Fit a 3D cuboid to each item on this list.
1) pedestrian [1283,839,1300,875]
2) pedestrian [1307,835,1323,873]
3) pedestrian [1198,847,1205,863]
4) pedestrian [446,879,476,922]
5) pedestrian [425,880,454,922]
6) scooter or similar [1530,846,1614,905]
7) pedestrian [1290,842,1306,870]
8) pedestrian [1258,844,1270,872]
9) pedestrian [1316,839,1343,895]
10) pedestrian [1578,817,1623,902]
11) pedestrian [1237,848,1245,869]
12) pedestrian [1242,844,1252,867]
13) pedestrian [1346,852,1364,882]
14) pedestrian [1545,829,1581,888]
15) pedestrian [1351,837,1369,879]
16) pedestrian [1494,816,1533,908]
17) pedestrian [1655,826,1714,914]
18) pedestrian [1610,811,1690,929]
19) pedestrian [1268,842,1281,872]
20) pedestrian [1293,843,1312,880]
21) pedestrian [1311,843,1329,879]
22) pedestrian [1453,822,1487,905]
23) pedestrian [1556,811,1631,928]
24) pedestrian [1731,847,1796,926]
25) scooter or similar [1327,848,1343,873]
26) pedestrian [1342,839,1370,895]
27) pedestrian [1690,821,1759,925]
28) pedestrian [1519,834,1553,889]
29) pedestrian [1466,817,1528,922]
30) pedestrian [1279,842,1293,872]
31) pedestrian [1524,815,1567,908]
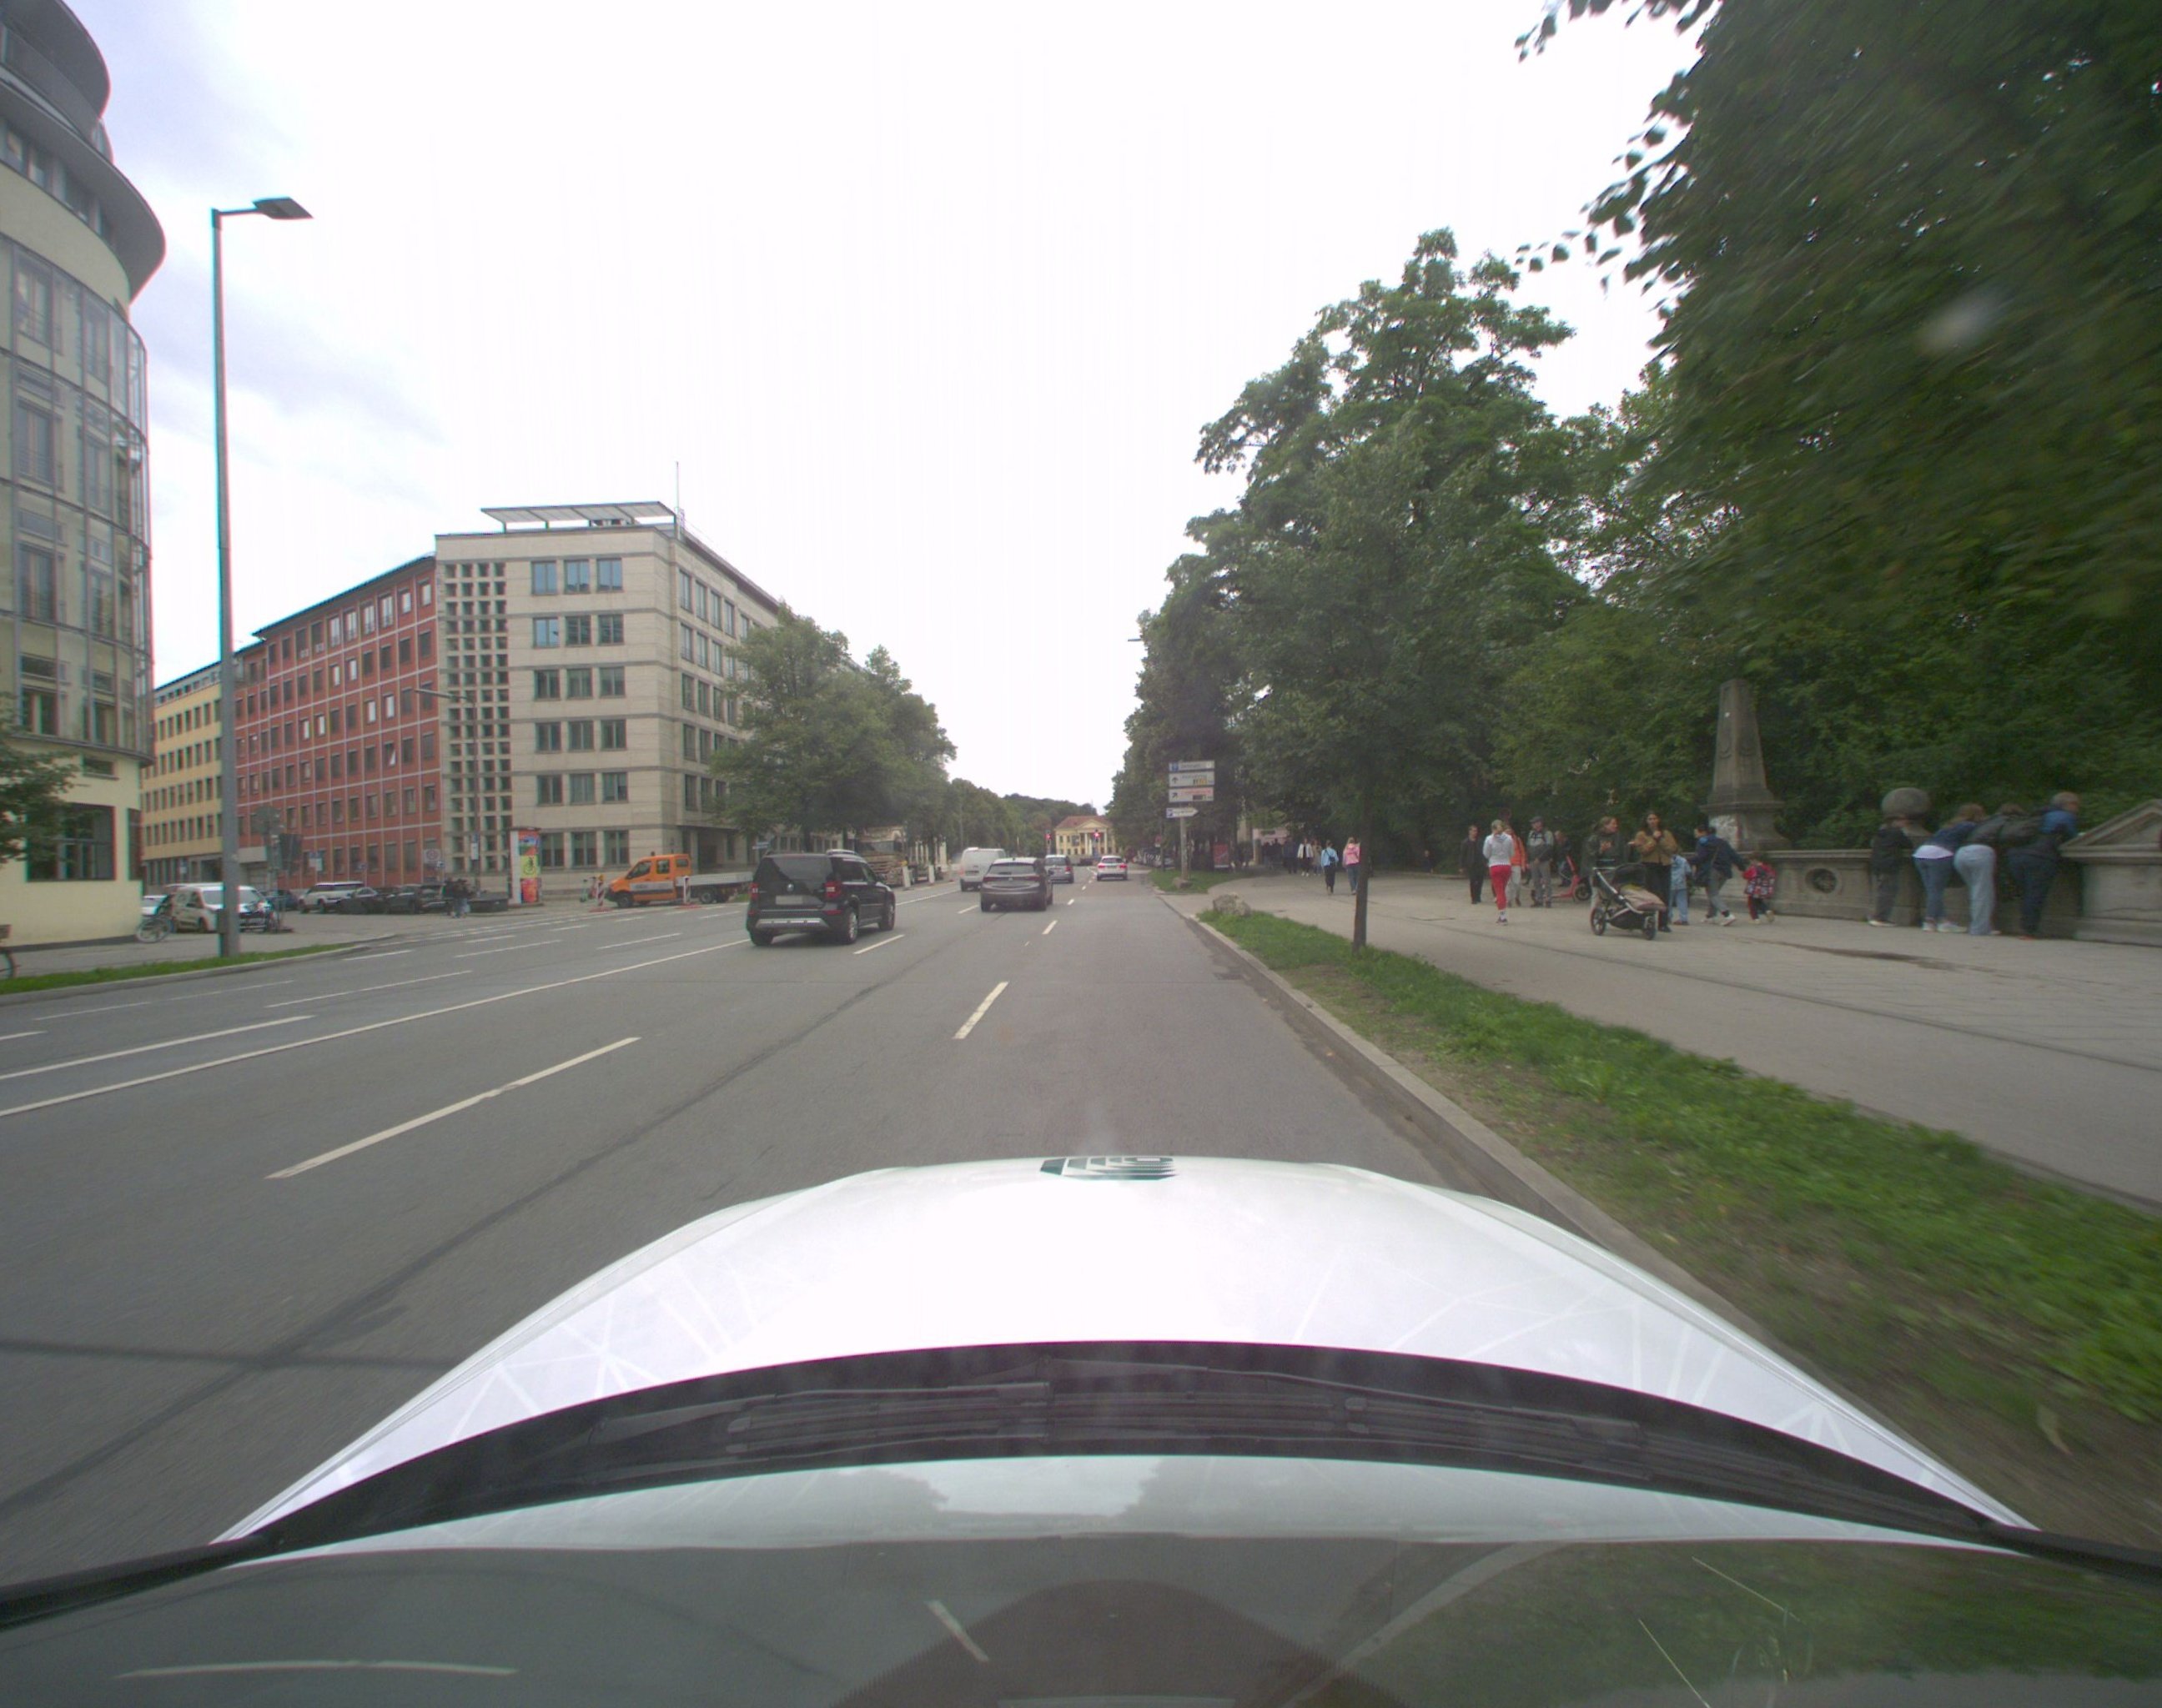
[{"bbox_3d":[10.378,0.137,40.071,0.748,1.737,0.853,-1,-1,17],"label":"pedestrian"},{"bbox_3d":[11.457,0.018,39.871,0.585,1.822,0.850,-1,-1,3],"label":"pedestrian"},{"bbox_3d":[14.619,0.155,98.542,0.761,1.910,0.771,-1,-1,2],"label":"pedestrian"},{"bbox_3d":[-26.731,1.998,35.122,0.679,1.775,0.785,-1,-1,6],"label":"pedestrian"},{"bbox_3d":[-27.411,1.990,34.779,0.679,1.775,0.675,-1,-1,6],"label":"pedestrian"},{"bbox_3d":[10.763,0.461,17.882,1.547,1.256,0.350,-1,-1,32],"label":"scooter or similar"},{"bbox_3d":[12.954,0.136,48.573,0.681,1.637,0.661,0,-1,-10],"label":"pedestrian"},{"bbox_3d":[10.808,0.240,48.210,0.604,1.681,0.755,-1,-1,6],"label":"pedestrian"},{"bbox_3d":[7.509,0.394,24.578,0.748,1.644,0.853,-1,-1,17],"label":"pedestrian"},{"bbox_3d":[11.707,0.129,18.357,0.695,1.873,0.605,0,-1,-33],"label":"pedestrian"},{"bbox_3d":[12.600,0.354,64.132,0.577,1.675,0.554,-1,-1,5],"label":"pedestrian"},{"bbox_3d":[12.518,0.116,61.500,0.627,1.774,0.783,-1,-1,6],"label":"pedestrian"},{"bbox_3d":[10.370,0.492,30.830,0.626,1.137,0.575,-1,-1,17],"label":"pedestrian"},{"bbox_3d":[13.851,0.131,23.395,0.695,1.651,0.605,0,-1,-31],"label":"pedestrian"},{"bbox_3d":[11.124,0.156,32.466,0.626,1.667,0.575,-1,-1,17],"label":"pedestrian"},{"bbox_3d":[9.214,0.175,17.359,0.604,1.914,0.696,-1,-1,18],"label":"pedestrian"},{"bbox_3d":[9.293,0.241,12.564,0.455,1.326,0.649,-1,-1,7],"label":"pedestrian"},{"bbox_3d":[8.382,0.230,12.019,0.722,1.691,0.649,-1,-1,7],"label":"pedestrian"},{"bbox_3d":[11.446,0.167,48.176,0.604,1.763,0.798,-1,-1,6],"label":"pedestrian"},{"bbox_3d":[10.048,0.327,36.943,0.748,1.644,0.653,-1,-1,17],"label":"pedestrian"},{"bbox_3d":[10.775,0.319,36.743,0.748,1.644,0.694,-1,-1,17],"label":"pedestrian"},{"bbox_3d":[8.992,0.215,18.846,0.604,1.873,0.696,-1,-1,18],"label":"pedestrian"},{"bbox_3d":[7.628,0.235,12.151,0.722,1.691,0.649,-1,-1,7],"label":"pedestrian"},{"bbox_3d":[10.260,0.479,12.264,0.455,1.153,0.649,-1,-1,7],"label":"pedestrian"},{"bbox_3d":[12.444,0.320,39.943,0.416,1.199,1.219,-1,-1,3],"label":"scooter or similar"},{"bbox_3d":[8.216,0.385,24.368,0.748,1.644,0.853,-1,-1,17],"label":"pedestrian"},{"bbox_3d":[9.739,0.283,12.344,0.546,1.527,0.649,-1,-1,7],"label":"pedestrian"},{"bbox_3d":[13.449,0.221,24.070,0.695,1.578,0.605,0,-1,-33],"label":"pedestrian"},{"bbox_3d":[6.903,0.258,13.535,0.722,1.691,0.649,-1,-1,7],"label":"pedestrian"},{"bbox_3d":[12.162,0.189,48.242,0.748,1.737,0.853,-1,-1,17],"label":"pedestrian"},{"bbox_3d":[9.546,0.161,16.757,0.604,1.873,0.696,-1,-1,18],"label":"pedestrian"}]
